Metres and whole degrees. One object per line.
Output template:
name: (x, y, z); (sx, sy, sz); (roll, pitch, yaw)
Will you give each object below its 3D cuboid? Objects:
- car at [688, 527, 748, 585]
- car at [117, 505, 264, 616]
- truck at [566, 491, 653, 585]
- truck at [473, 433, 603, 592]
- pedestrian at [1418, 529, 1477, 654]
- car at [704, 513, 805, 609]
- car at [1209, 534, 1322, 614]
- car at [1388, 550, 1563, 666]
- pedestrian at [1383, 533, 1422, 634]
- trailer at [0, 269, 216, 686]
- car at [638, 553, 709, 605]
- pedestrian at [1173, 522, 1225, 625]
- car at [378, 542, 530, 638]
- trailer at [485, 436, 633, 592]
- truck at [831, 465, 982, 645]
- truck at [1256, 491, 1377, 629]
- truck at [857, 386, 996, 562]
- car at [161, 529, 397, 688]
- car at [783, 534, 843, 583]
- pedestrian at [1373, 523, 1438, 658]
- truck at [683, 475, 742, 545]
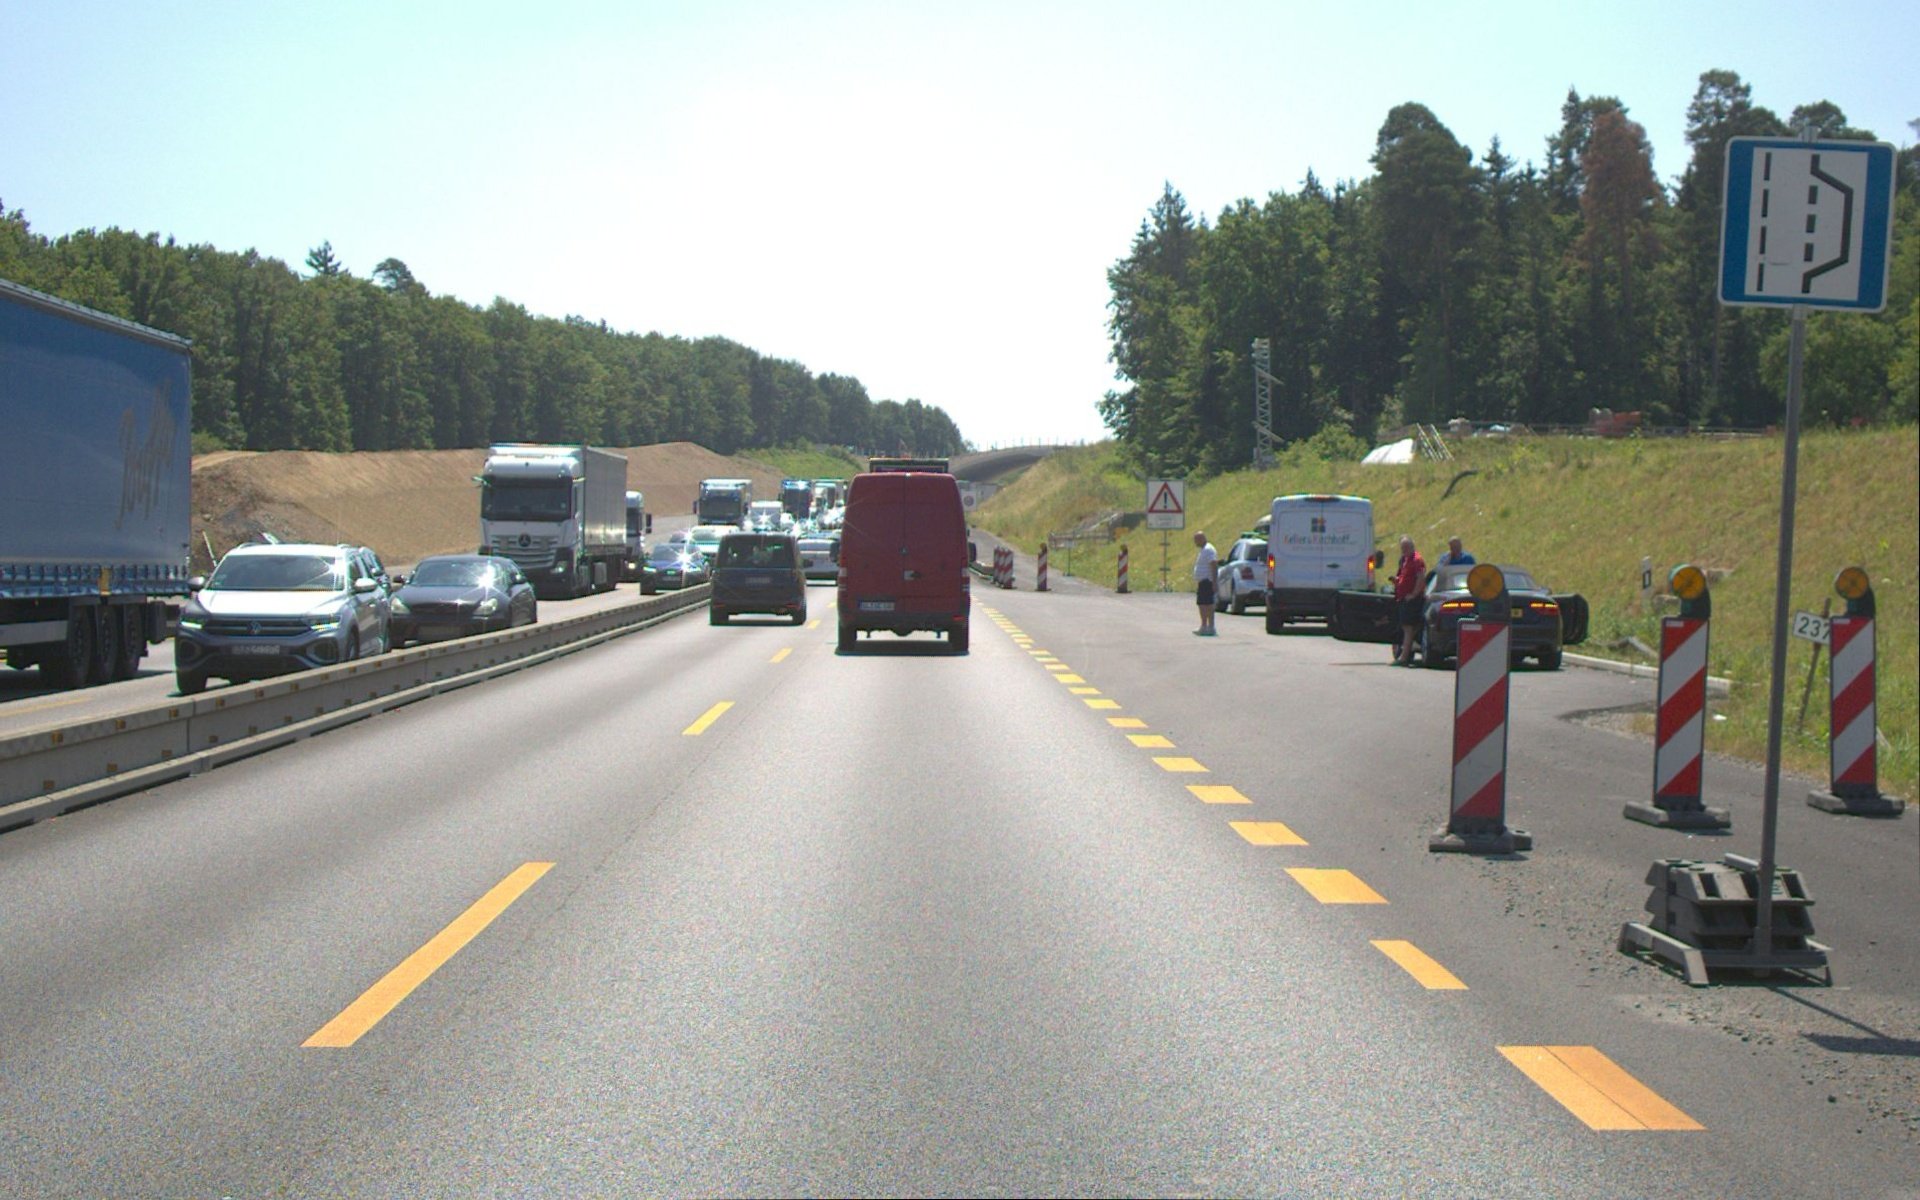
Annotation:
car: (-8.391, -1.493, 119.371); (1.825, 1.920, 5.264); (1, 0, -2)
car: (-13.594, -0.683, 60.924); (1.717, 1.868, 4.000); (1, 0, 0)
truck: (-11.855, -2.067, 116.489); (2.398, 3.048, 5.062); (1, 0, 0)
truck: (-11.052, -2.251, 90.469); (2.768, 4.030, 4.943); (1, 0, 0)
pedestrian: (7.165, -0.128, 50.510); (0.624, 1.822, 0.643); (1, 1, -12)
car: (-4.047, -0.791, 68.205); (1.751, 1.818, 4.783); (1, 1, -1)
car: (6.971, -0.629, 78.940); (1.774, 1.671, 4.856); (2, 2, -4)
car: (7.014, 0.068, 47.152); (1.654, 1.422, 4.545); (-2, 1, 0)
pedestrian: (7.922, -0.298, 61.607); (0.563, 1.789, 0.667); (1, 0, -2)
trailer: (-10.418, -1.207, 35.326); (2.653, 3.925, 13.997); (1, 1, -1)
car: (-8.036, -0.583, 96.637); (1.726, 1.382, 4.484); (1, 0, -2)
pedestrian: (4.299, -0.478, 61.850); (0.723, 1.822, 0.720); (1, 0, -12)
car: (-7.725, -0.152, 52.832); (1.729, 1.382, 4.861); (1, 0, -2)
trailer: (-11.197, -2.402, 97.248); (2.790, 4.061, 13.712); (1, 1, -1)
truck: (-0.804, -0.661, 52.491); (2.153, 2.581, 5.333); (1, 0, -1)
truck: (6.773, -0.792, 65.292); (2.130, 2.448, 5.924); (1, 1, 6)
truck: (-1.207, -4.196, 120.077); (4.400, 5.477, 16.604); (1, 0, -1)
car: (-7.172, 0.050, 36.551); (1.775, 1.549, 4.140); (-1, 1, -2)
car: (-4.745, -1.333, 111.365); (1.831, 1.517, 3.961); (1, 0, -1)
pedestrian: (6.092, -0.133, 47.009); (0.640, 1.822, 0.559); (1, 1, -22)
truck: (-13.603, -4.915, 189.596); (2.509, 3.605, 9.641); (1, 0, 0)
